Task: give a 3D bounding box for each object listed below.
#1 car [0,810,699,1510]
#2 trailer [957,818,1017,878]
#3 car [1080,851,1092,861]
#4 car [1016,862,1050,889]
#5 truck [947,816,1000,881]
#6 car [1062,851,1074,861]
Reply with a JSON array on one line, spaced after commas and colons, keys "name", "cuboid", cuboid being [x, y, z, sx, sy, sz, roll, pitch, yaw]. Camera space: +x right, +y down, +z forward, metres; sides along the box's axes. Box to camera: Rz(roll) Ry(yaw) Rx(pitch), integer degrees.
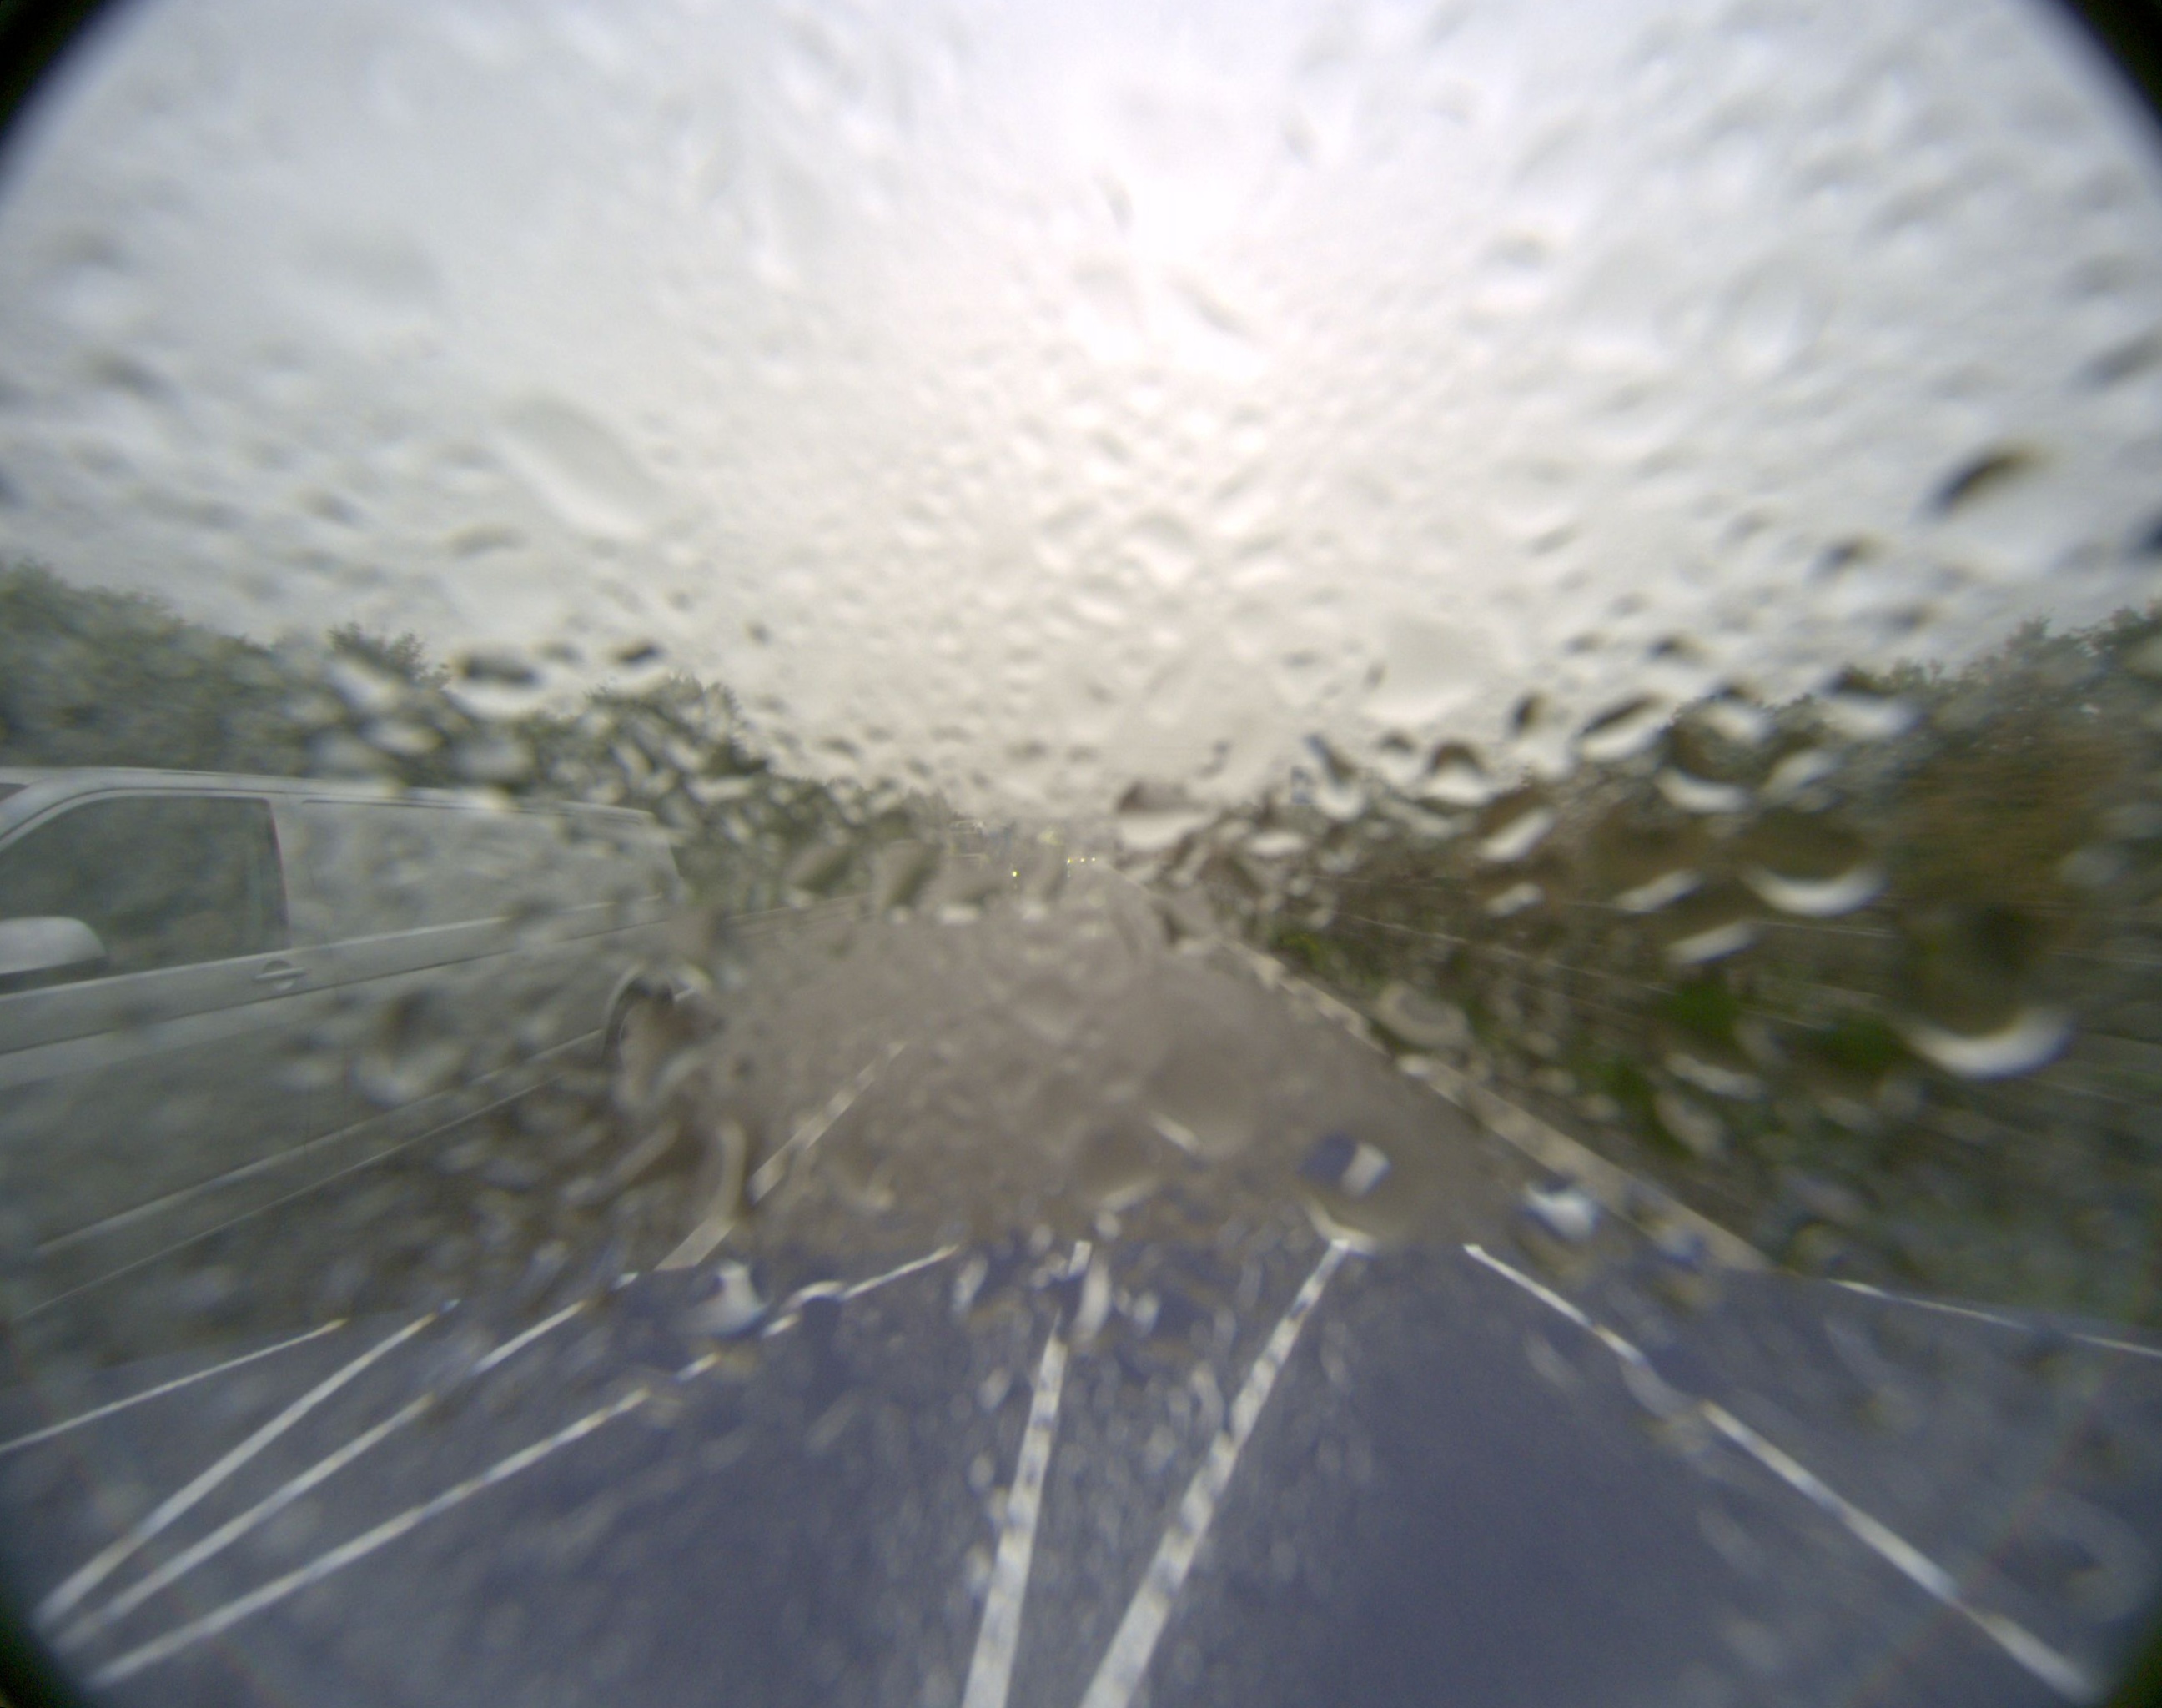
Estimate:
[{"name": "car", "cuboid": [-3.837, 0.823, 3.140, 1.892, 1.873, 5.008, -1, 1, 1]}, {"name": "trailer", "cuboid": [-6.963, -0.474, 58.392, 2.618, 4.064, 13.789, -1, 1, 1]}, {"name": "car", "cuboid": [0.837, 0.233, 116.146, 1.769, 1.448, 3.959, -1, 1, 1]}, {"name": "car", "cuboid": [-2.889, 1.298, 46.851, 1.769, 1.448, 3.959, -1, 1, 1]}, {"name": "truck", "cuboid": [-7.089, -0.392, 50.757, 2.618, 4.064, 5.237, -1, 1, 1]}, {"name": "car", "cuboid": [-1.967, 0.255, 114.639, 1.769, 1.448, 3.959, -1, 1, 1]}]
